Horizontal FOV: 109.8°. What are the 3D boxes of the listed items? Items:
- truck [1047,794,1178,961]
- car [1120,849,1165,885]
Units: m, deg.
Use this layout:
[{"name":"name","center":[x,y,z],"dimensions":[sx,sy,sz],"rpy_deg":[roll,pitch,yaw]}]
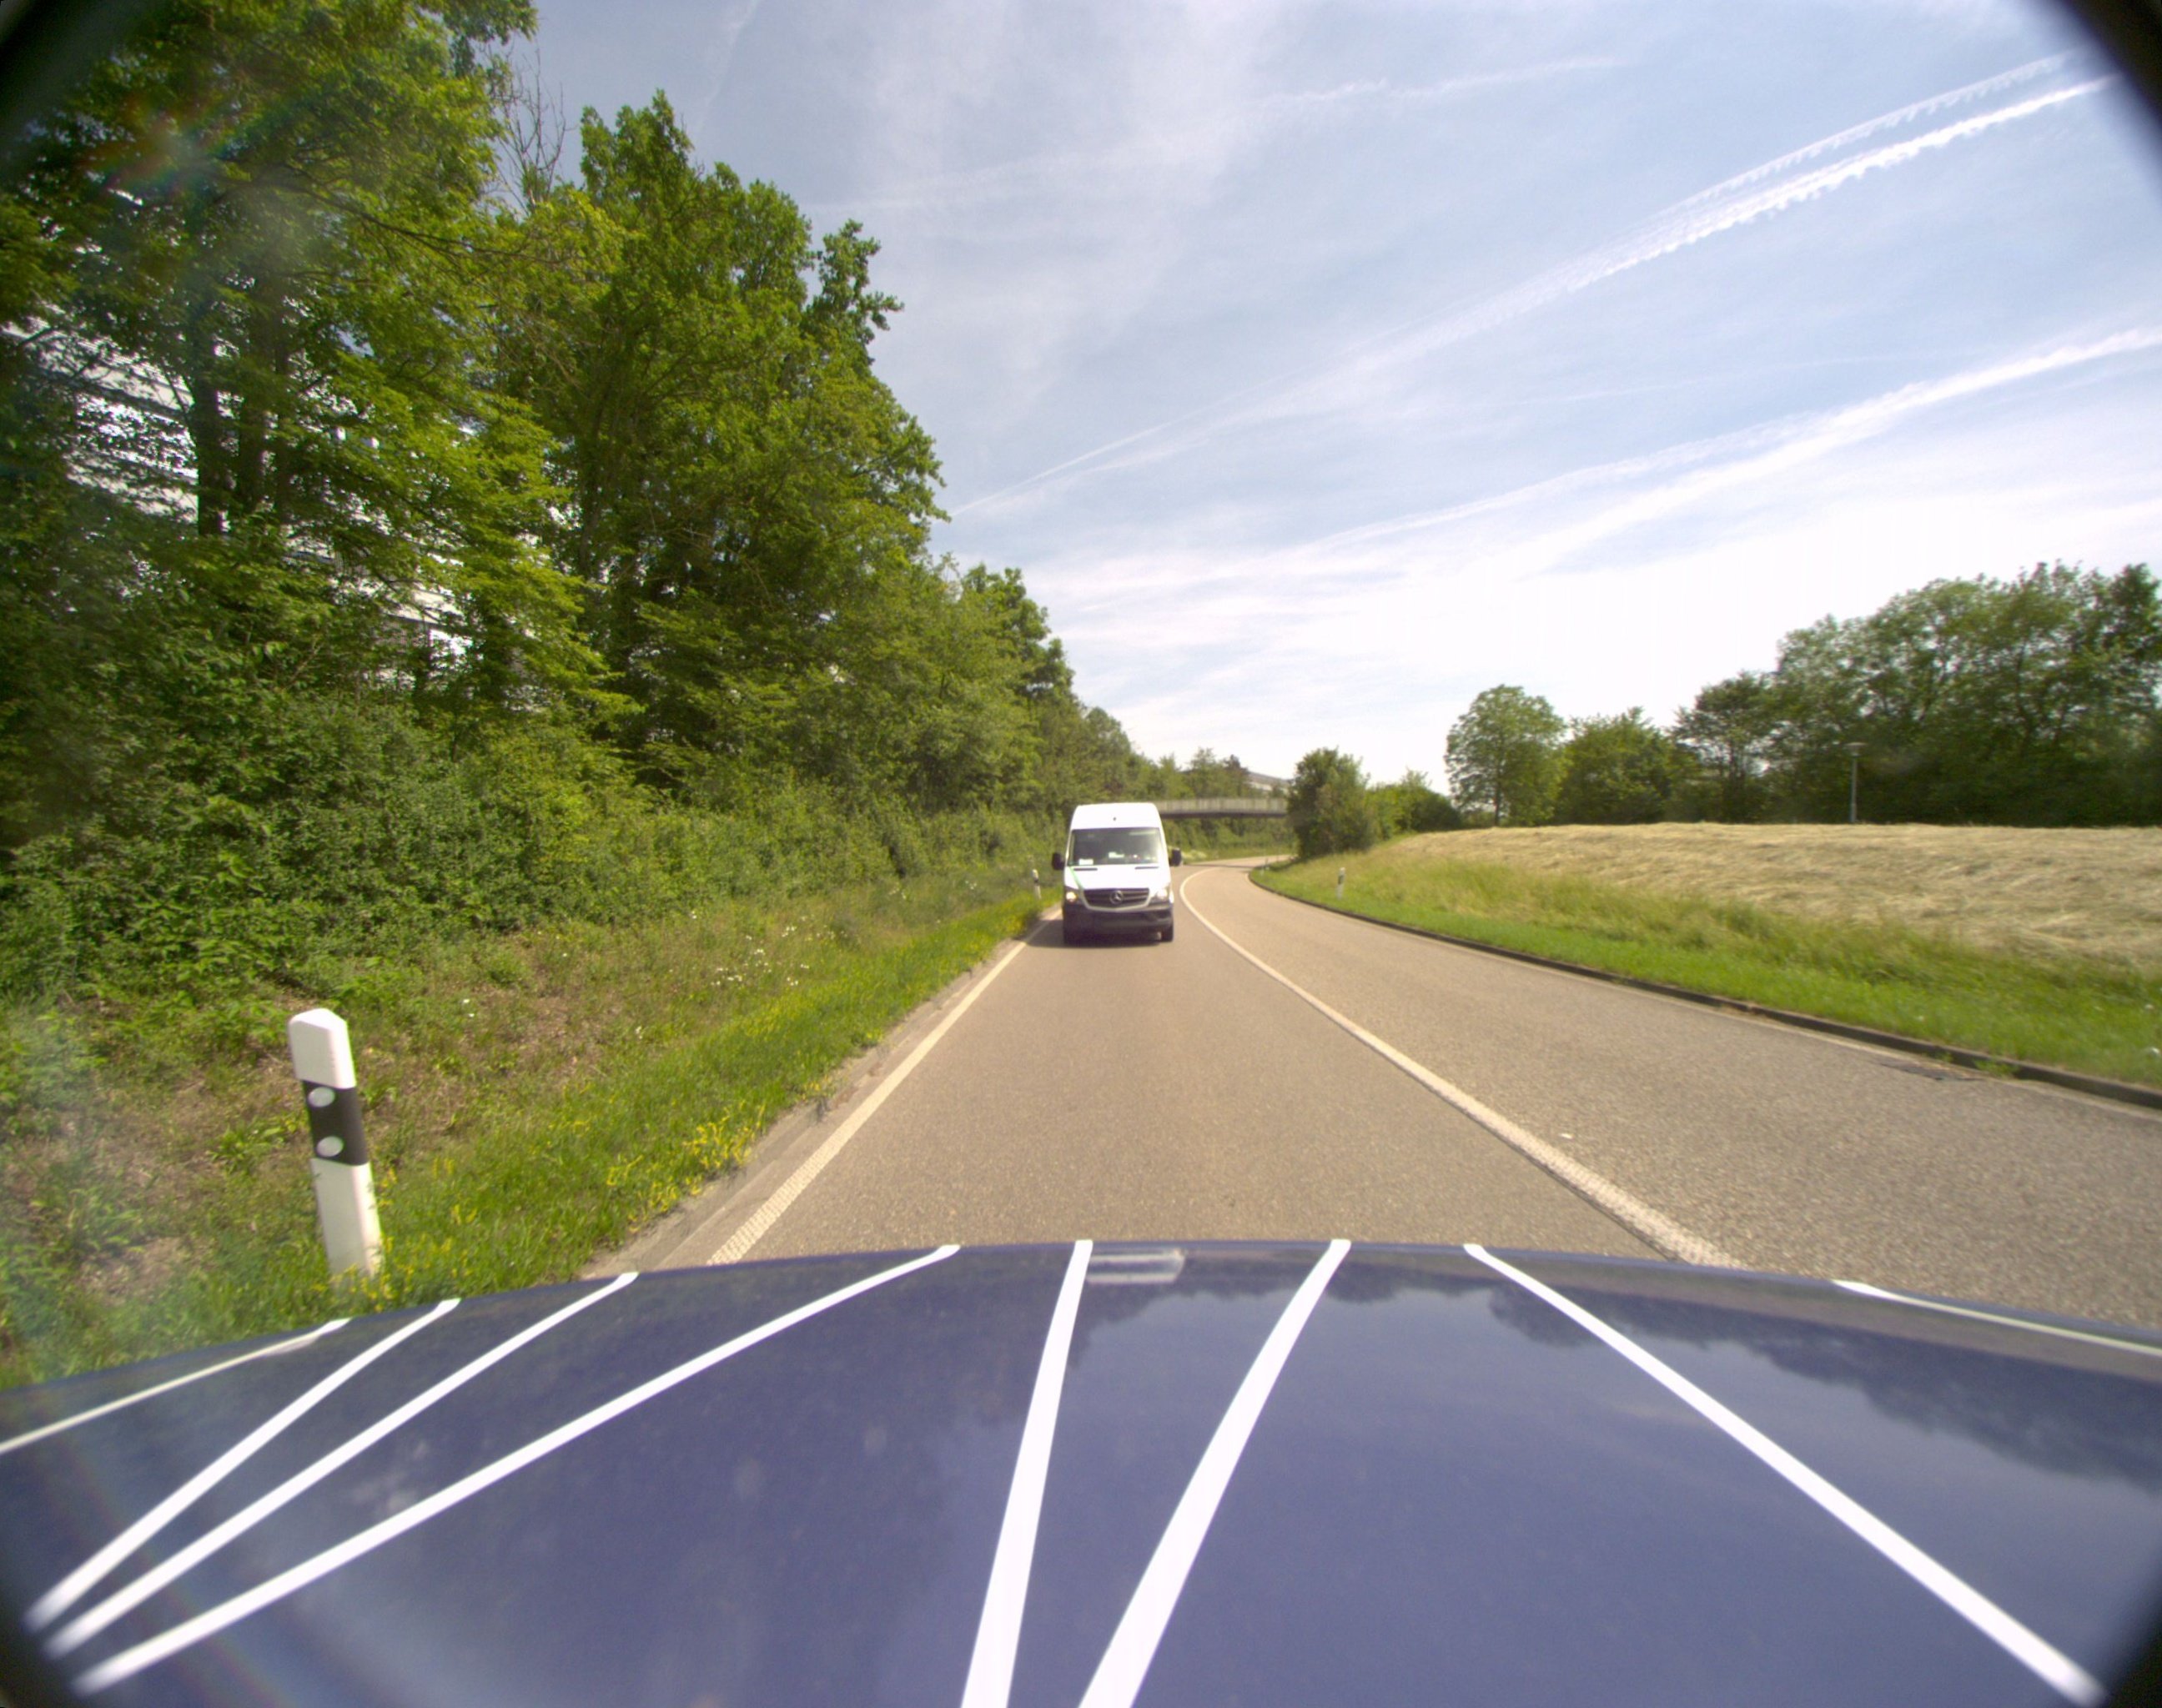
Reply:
[{"name":"truck","center":[0.706,0.368,14.755],"dimensions":[1.998,2.571,5.889],"rpy_deg":[-1,0,4]},{"name":"car","center":[3.165,0.600,38.331],"dimensions":[1.847,1.698,4.092],"rpy_deg":[0,1,11]}]
